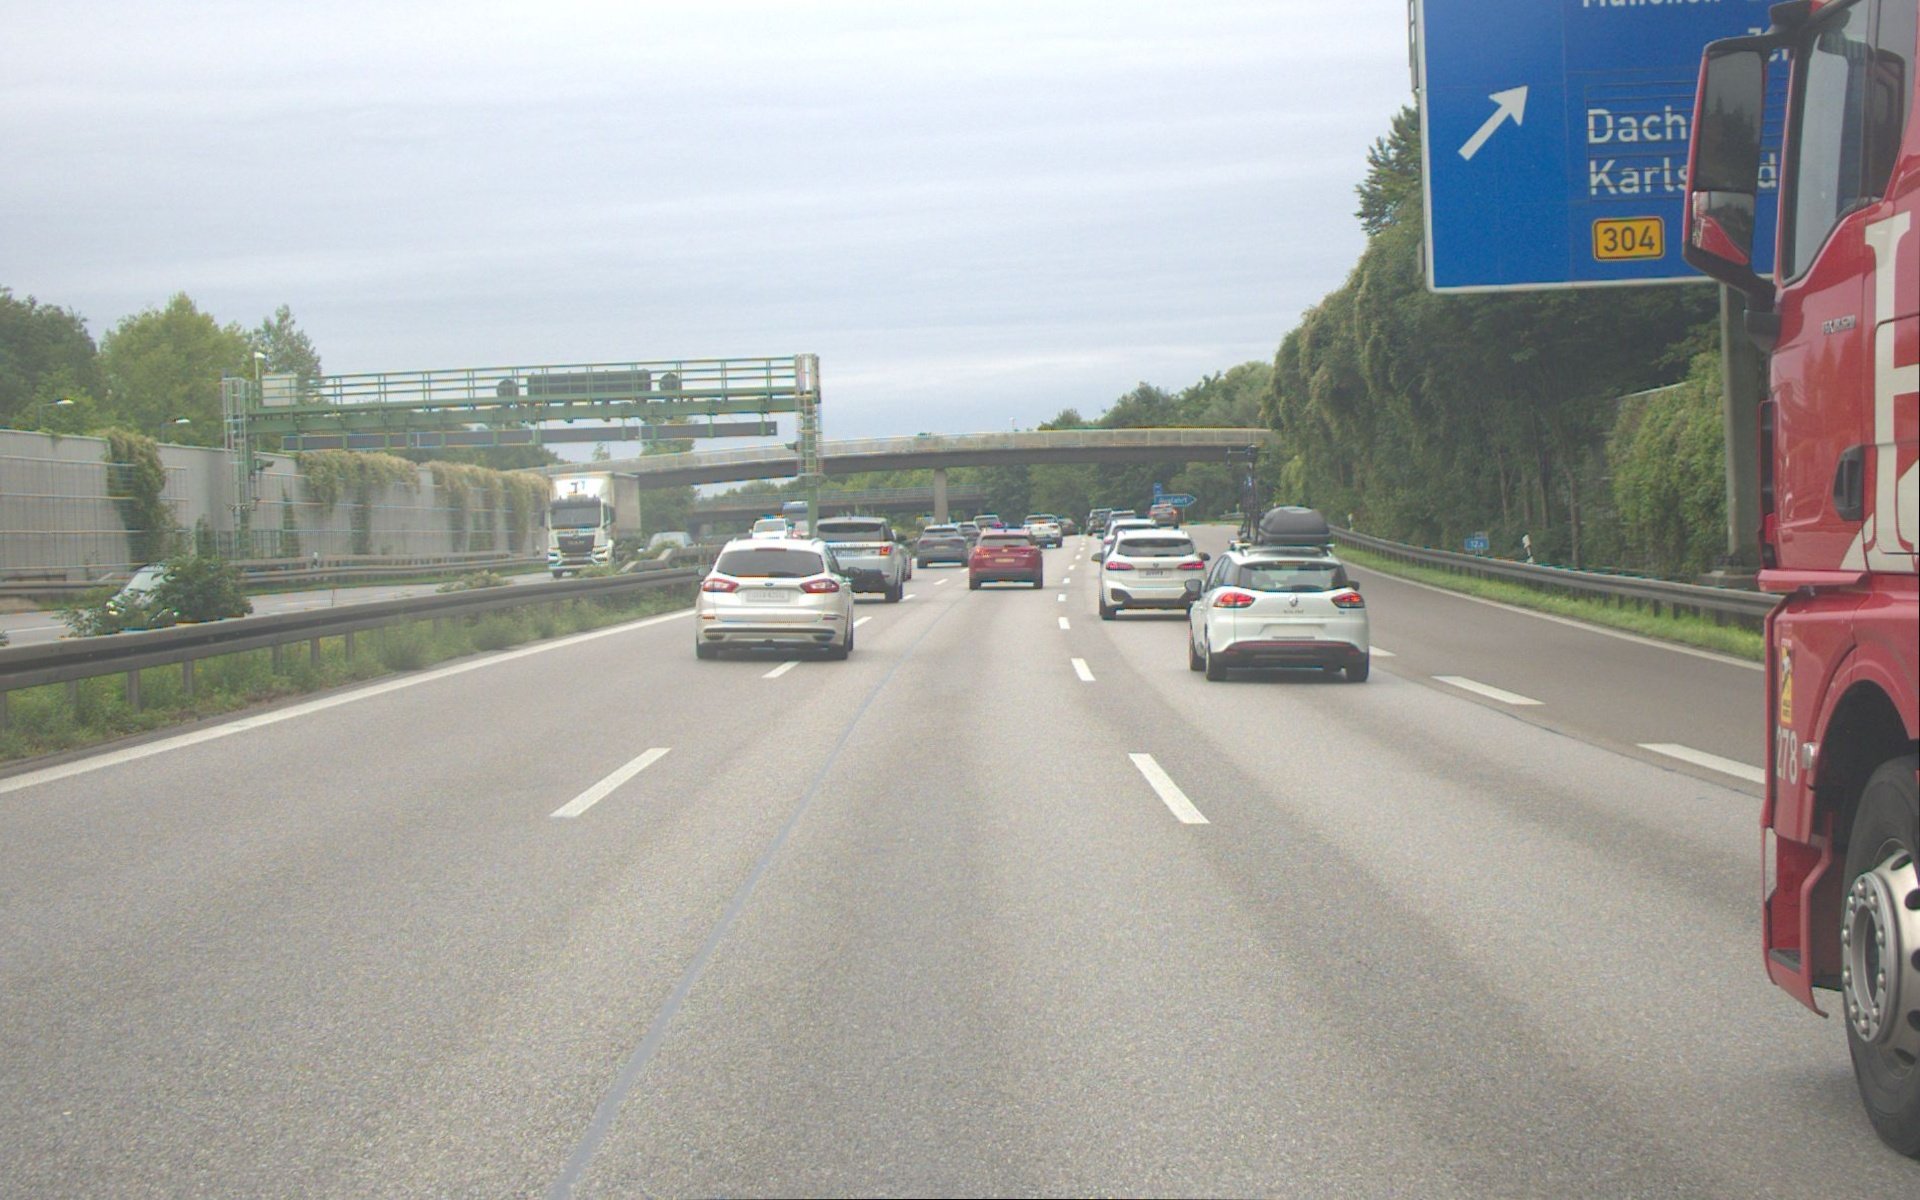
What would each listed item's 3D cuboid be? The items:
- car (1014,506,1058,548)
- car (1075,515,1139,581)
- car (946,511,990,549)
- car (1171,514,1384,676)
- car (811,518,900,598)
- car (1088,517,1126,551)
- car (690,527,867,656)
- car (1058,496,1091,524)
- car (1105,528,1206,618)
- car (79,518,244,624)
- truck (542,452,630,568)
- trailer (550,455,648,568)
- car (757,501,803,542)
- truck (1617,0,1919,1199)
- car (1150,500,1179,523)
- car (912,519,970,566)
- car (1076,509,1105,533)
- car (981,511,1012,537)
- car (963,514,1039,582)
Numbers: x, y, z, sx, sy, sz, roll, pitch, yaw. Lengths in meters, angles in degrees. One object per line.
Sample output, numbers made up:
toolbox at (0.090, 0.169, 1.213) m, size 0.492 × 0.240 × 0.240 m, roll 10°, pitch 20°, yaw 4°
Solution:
car at (3.422, -3.253, 153.818) m, size 1.790 × 1.773 × 3.871 m, roll -1°, pitch 1°, yaw 4°
car at (4.126, -1.462, 95.819) m, size 1.689 × 1.773 × 3.871 m, roll -1°, pitch 1°, yaw 4°
car at (0.371, -3.101, 152.584) m, size 1.689 × 1.634 × 3.871 m, roll -1°, pitch 1°, yaw 4°
car at (3.434, -0.076, 38.084) m, size 1.816 × 1.620 × 5.030 m, roll 2°, pitch 1°, yaw 0°
car at (-2.157, -0.908, 71.815) m, size 1.689 × 1.501 × 3.872 m, roll 4°, pitch 2°, yaw -1°
car at (6.920, -3.118, 161.869) m, size 1.689 × 1.534 × 3.871 m, roll 0°, pitch 1°, yaw 4°
car at (-2.203, -0.139, 42.903) m, size 1.892 × 1.499 × 5.030 m, roll 1°, pitch 1°, yaw 0°
car at (6.288, -4.929, 189.125) m, size 1.689 × 1.534 × 3.871 m, roll 0°, pitch 1°, yaw 4°
car at (3.391, -0.469, 59.771) m, size 1.689 × 1.501 × 3.871 m, roll 0°, pitch 0°, yaw 3°
car at (-13.990, -0.535, 60.455) m, size 1.993 × 1.733 × 4.001 m, roll 1°, pitch 2°, yaw 0°
truck at (-14.768, -3.561, 136.101) m, size 2.649 × 4.458 × 5.283 m, roll -1°, pitch 1°, yaw 2°
trailer at (-14.617, -3.592, 139.829) m, size 2.668 × 4.429 × 8.573 m, roll -1°, pitch 1°, yaw 2°
car at (-9.332, -4.062, 178.341) m, size 1.993 × 2.007 × 4.909 m, roll 0°, pitch 0°, yaw 1°
truck at (3.510, -0.559, 7.735) m, size 2.695 × 3.899 × 6.557 m, roll 0°, pitch 1°, yaw -1°
car at (12.568, -5.440, 211.390) m, size 1.689 × 1.417 × 3.871 m, roll 0°, pitch 1°, yaw 2°
car at (-0.627, -1.980, 117.462) m, size 1.689 × 1.501 × 3.871 m, roll -2°, pitch 1°, yaw 4°
car at (7.901, -4.801, 208.167) m, size 1.689 × 1.417 × 3.871 m, roll 0°, pitch 1°, yaw 2°
car at (2.105, -4.346, 196.145) m, size 1.689 × 1.417 × 3.871 m, roll 0°, pitch 1°, yaw 2°
car at (1.019, -1.291, 84.109) m, size 1.689 × 1.501 × 3.871 m, roll 4°, pitch 2°, yaw 2°
